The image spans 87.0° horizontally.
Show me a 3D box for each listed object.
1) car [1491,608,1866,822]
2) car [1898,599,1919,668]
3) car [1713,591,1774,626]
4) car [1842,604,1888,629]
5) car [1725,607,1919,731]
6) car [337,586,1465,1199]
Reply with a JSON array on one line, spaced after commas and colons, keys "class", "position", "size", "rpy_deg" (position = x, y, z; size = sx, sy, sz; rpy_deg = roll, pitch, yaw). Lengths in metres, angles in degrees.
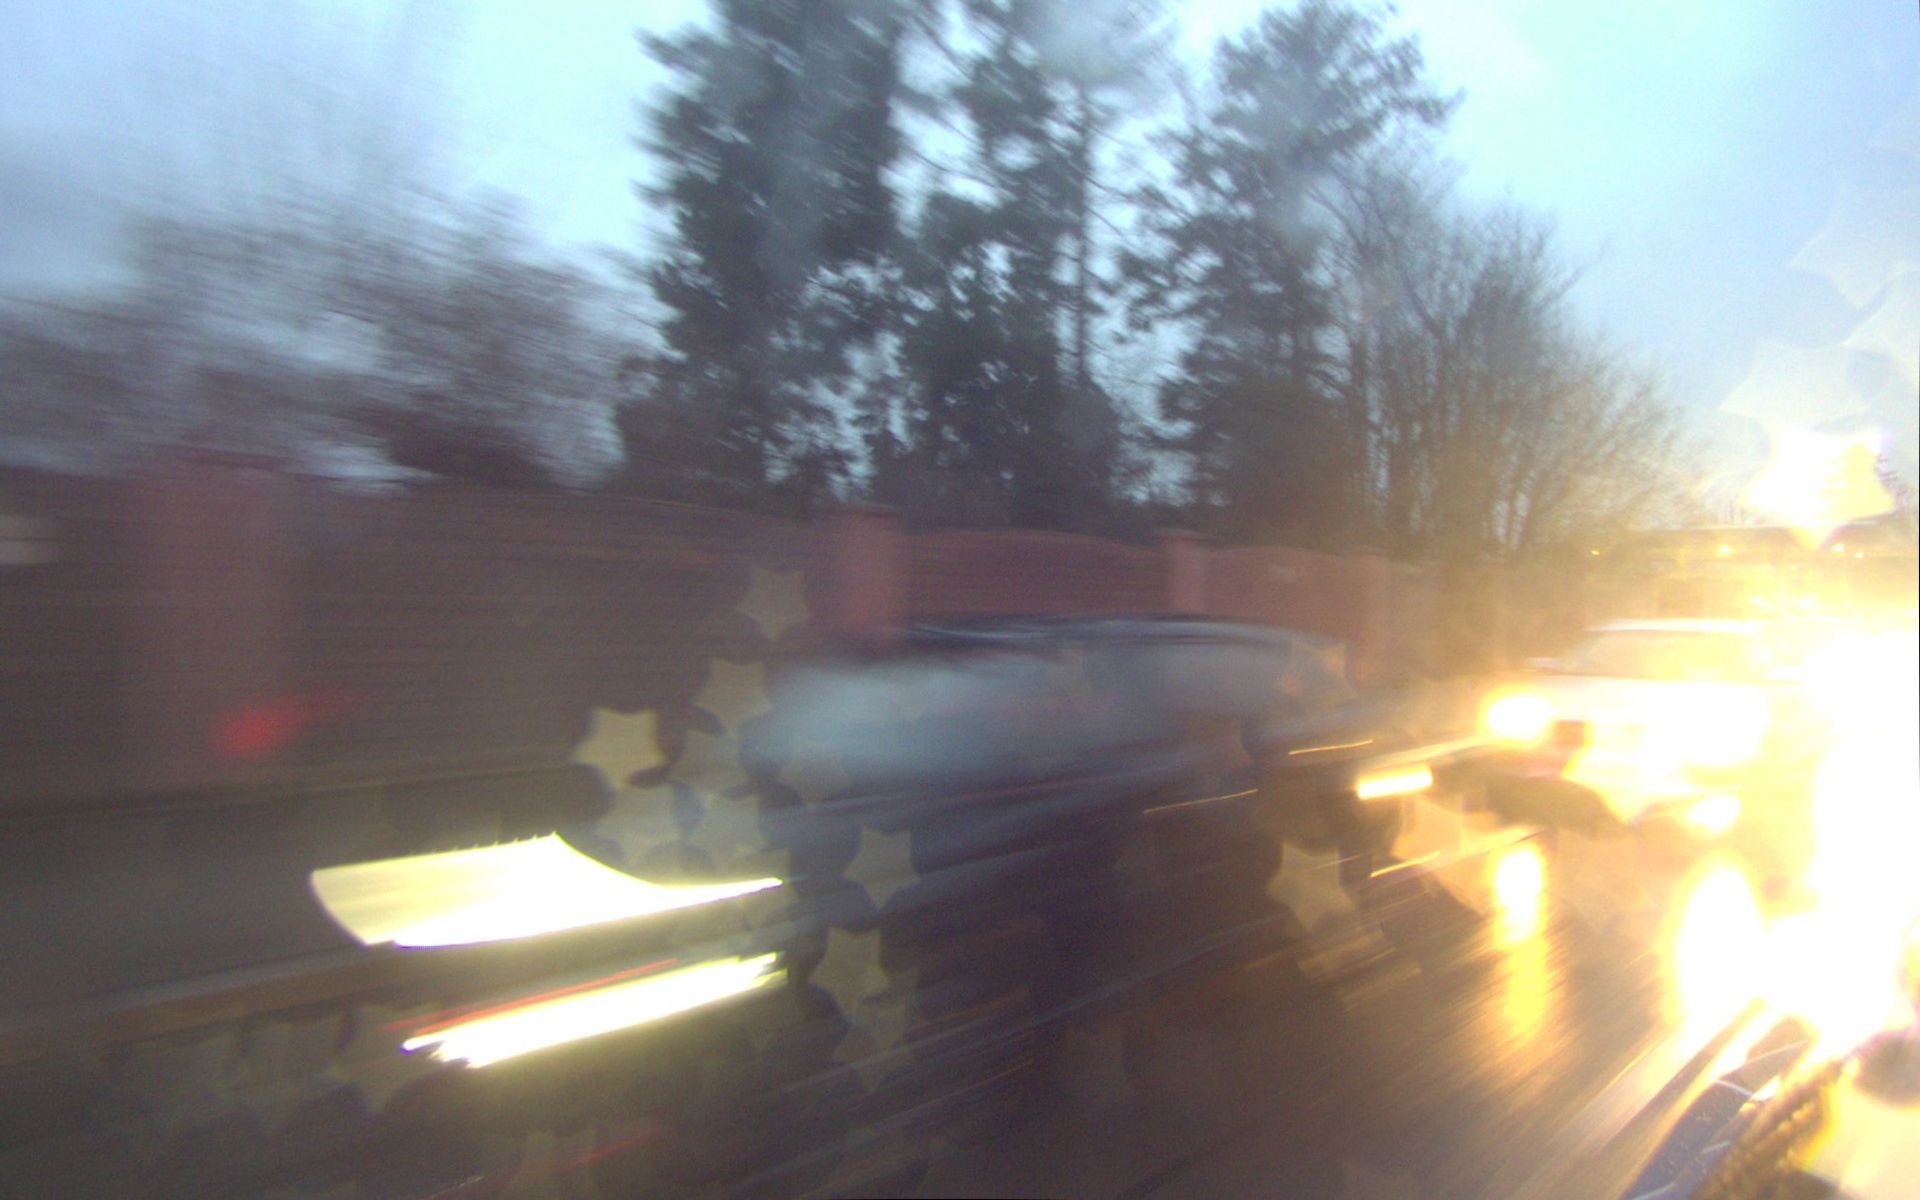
[{"class": "car", "position": [6.262, 0.770, 8.627], "size": [4.197, 1.353, 1.656], "rpy_deg": [0, 0, -41]}, {"class": "car", "position": [24.231, 0.809, 24.524], "size": [4.385, 1.595, 1.711], "rpy_deg": [1, 0, -40]}, {"class": "car", "position": [45.263, 0.496, 58.431], "size": [4.223, 1.882, 1.997], "rpy_deg": [0, 2, -41]}, {"class": "car", "position": [54.992, 0.970, 61.477], "size": [4.096, 1.414, 1.575], "rpy_deg": [1, 1, -41]}, {"class": "car", "position": [12.117, 0.809, 13.871], "size": [4.685, 1.384, 1.644], "rpy_deg": [0, 0, -40]}, {"class": "car", "position": [0.173, 0.727, 3.917], "size": [4.196, 1.490, 1.705], "rpy_deg": [0, 0, -41]}]
